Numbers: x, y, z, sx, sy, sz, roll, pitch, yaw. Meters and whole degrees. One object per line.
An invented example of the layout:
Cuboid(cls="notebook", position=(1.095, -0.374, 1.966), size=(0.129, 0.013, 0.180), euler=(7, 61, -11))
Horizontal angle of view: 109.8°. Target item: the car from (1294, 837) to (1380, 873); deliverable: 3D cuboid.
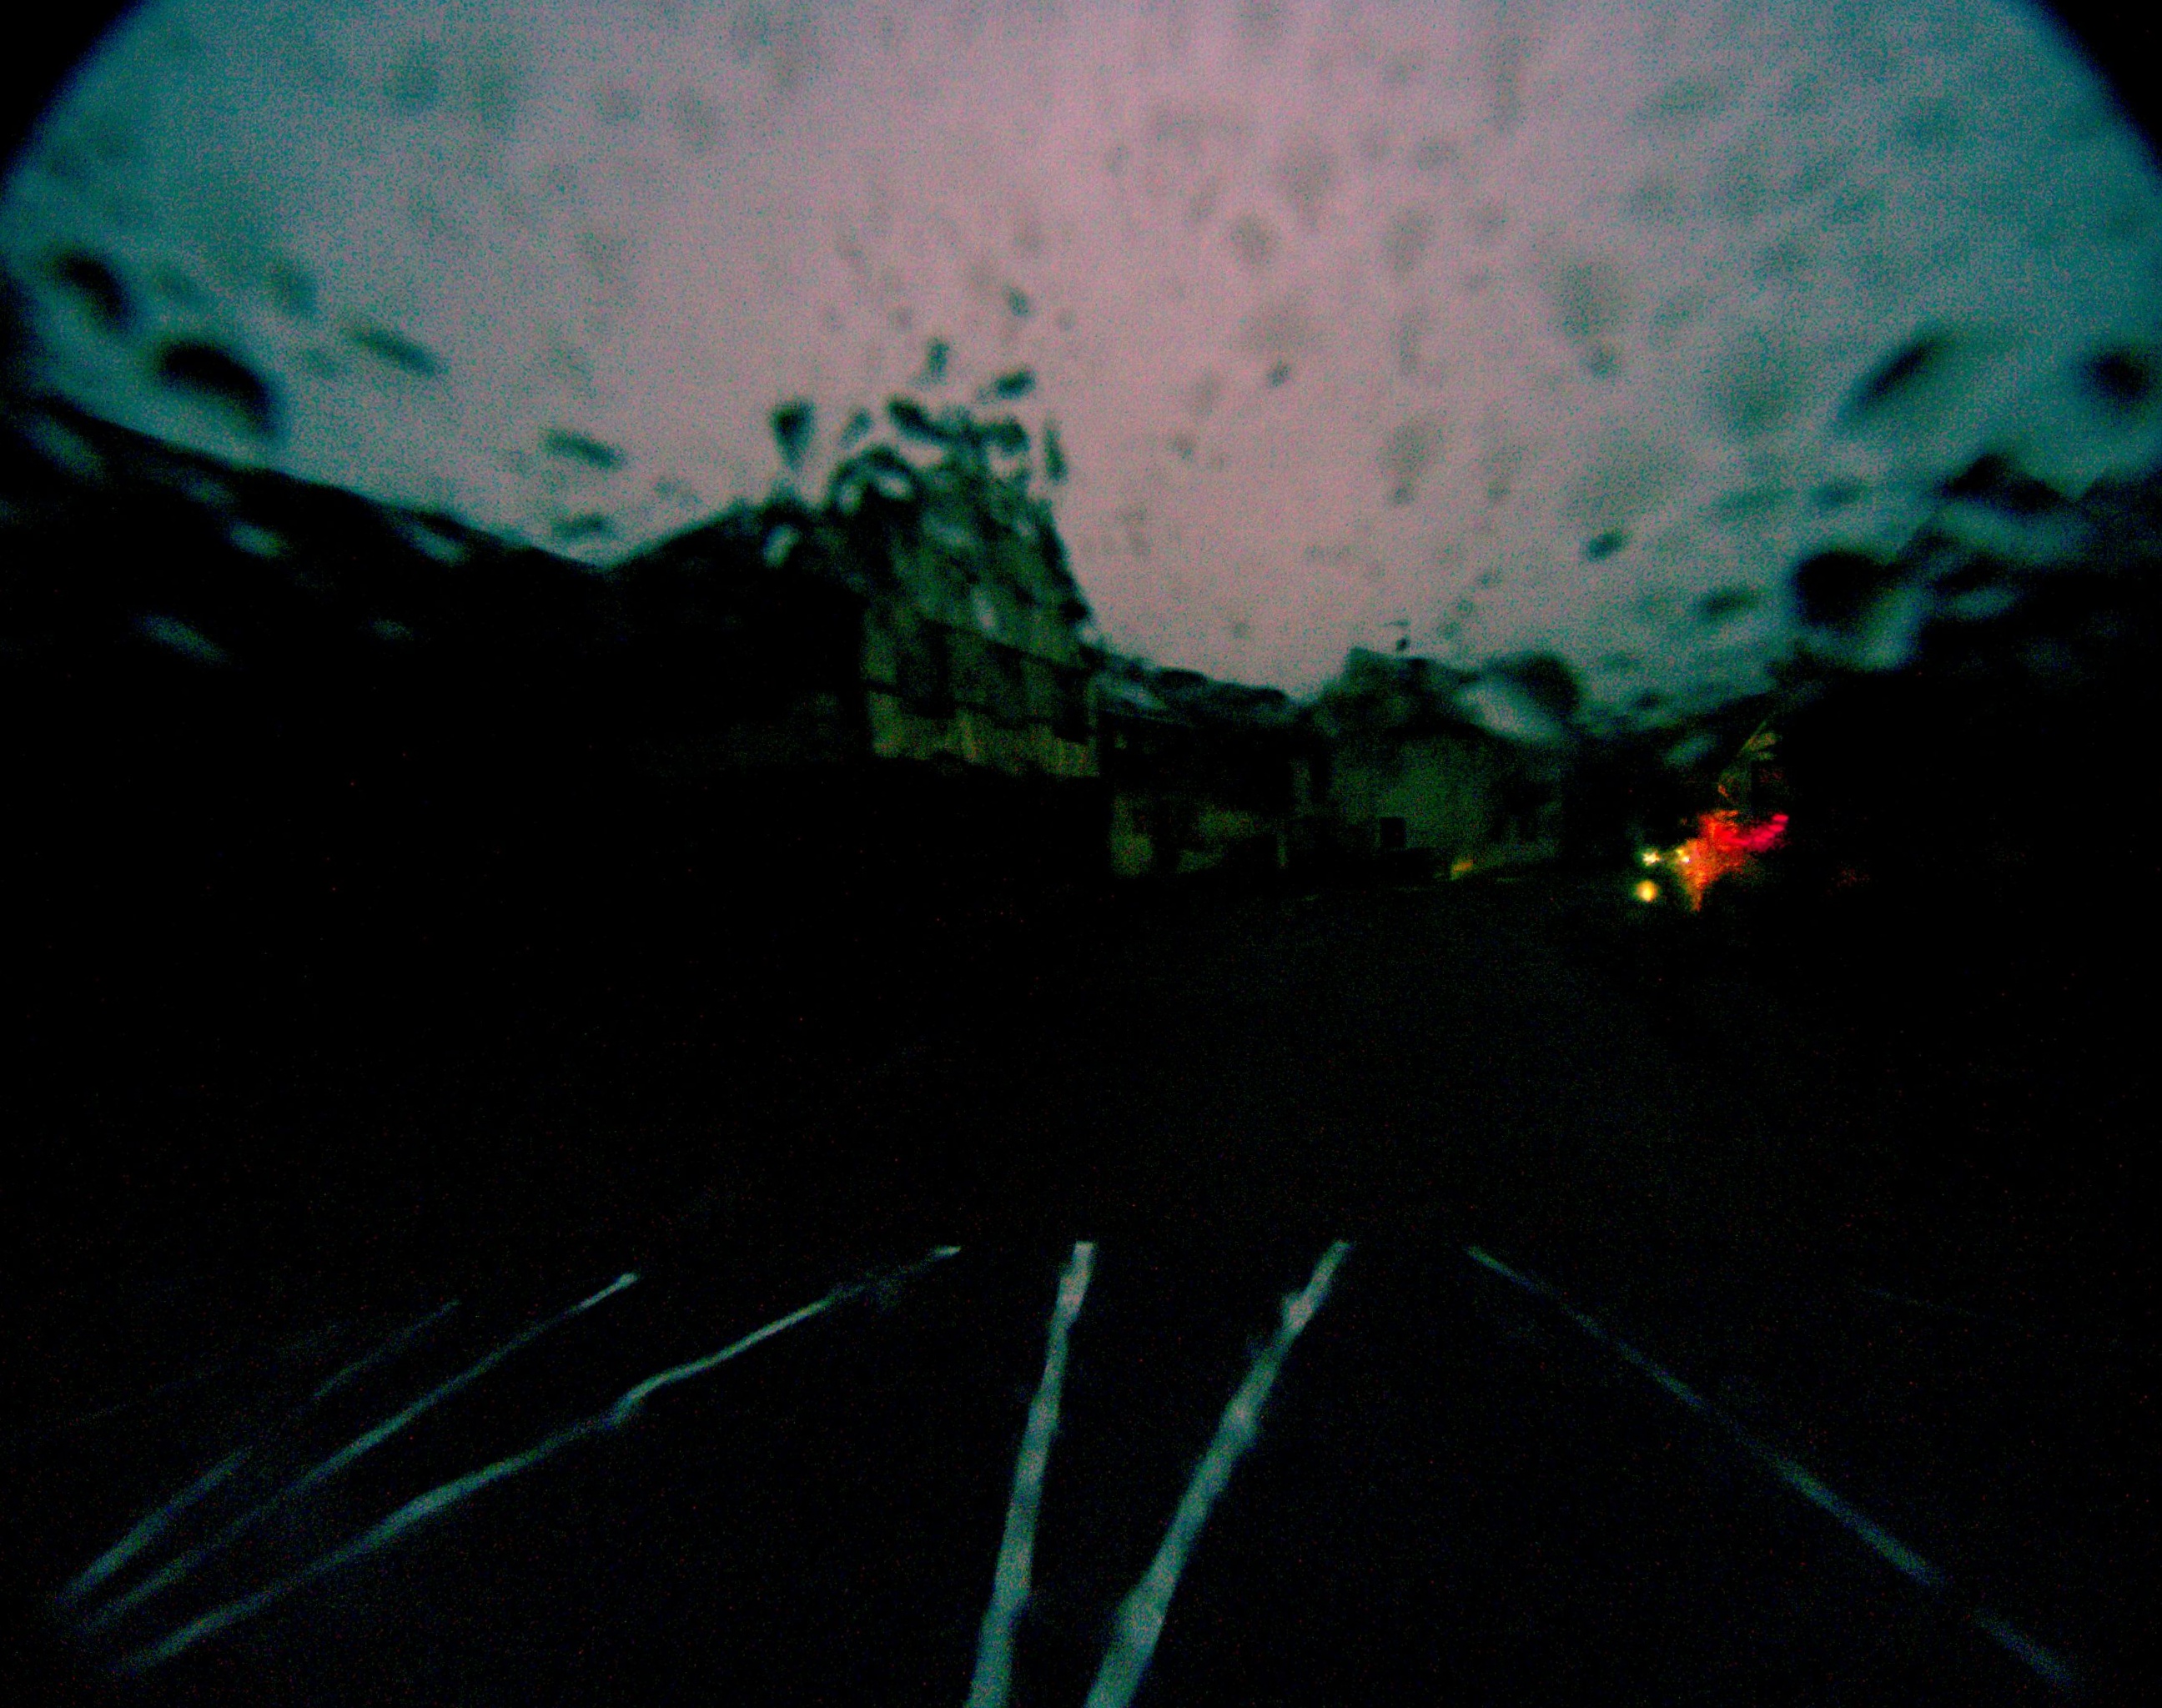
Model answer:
Cuboid(cls="car", position=(11.764, 0.005, 35.097), size=(1.652, 1.498, 3.481), euler=(-2, 3, -31))

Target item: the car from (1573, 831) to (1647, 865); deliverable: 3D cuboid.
Cuboid(cls="car", position=(27.418, -0.337, 39.356), size=(4.285, 1.479, 1.807), euler=(-4, 5, -36))
